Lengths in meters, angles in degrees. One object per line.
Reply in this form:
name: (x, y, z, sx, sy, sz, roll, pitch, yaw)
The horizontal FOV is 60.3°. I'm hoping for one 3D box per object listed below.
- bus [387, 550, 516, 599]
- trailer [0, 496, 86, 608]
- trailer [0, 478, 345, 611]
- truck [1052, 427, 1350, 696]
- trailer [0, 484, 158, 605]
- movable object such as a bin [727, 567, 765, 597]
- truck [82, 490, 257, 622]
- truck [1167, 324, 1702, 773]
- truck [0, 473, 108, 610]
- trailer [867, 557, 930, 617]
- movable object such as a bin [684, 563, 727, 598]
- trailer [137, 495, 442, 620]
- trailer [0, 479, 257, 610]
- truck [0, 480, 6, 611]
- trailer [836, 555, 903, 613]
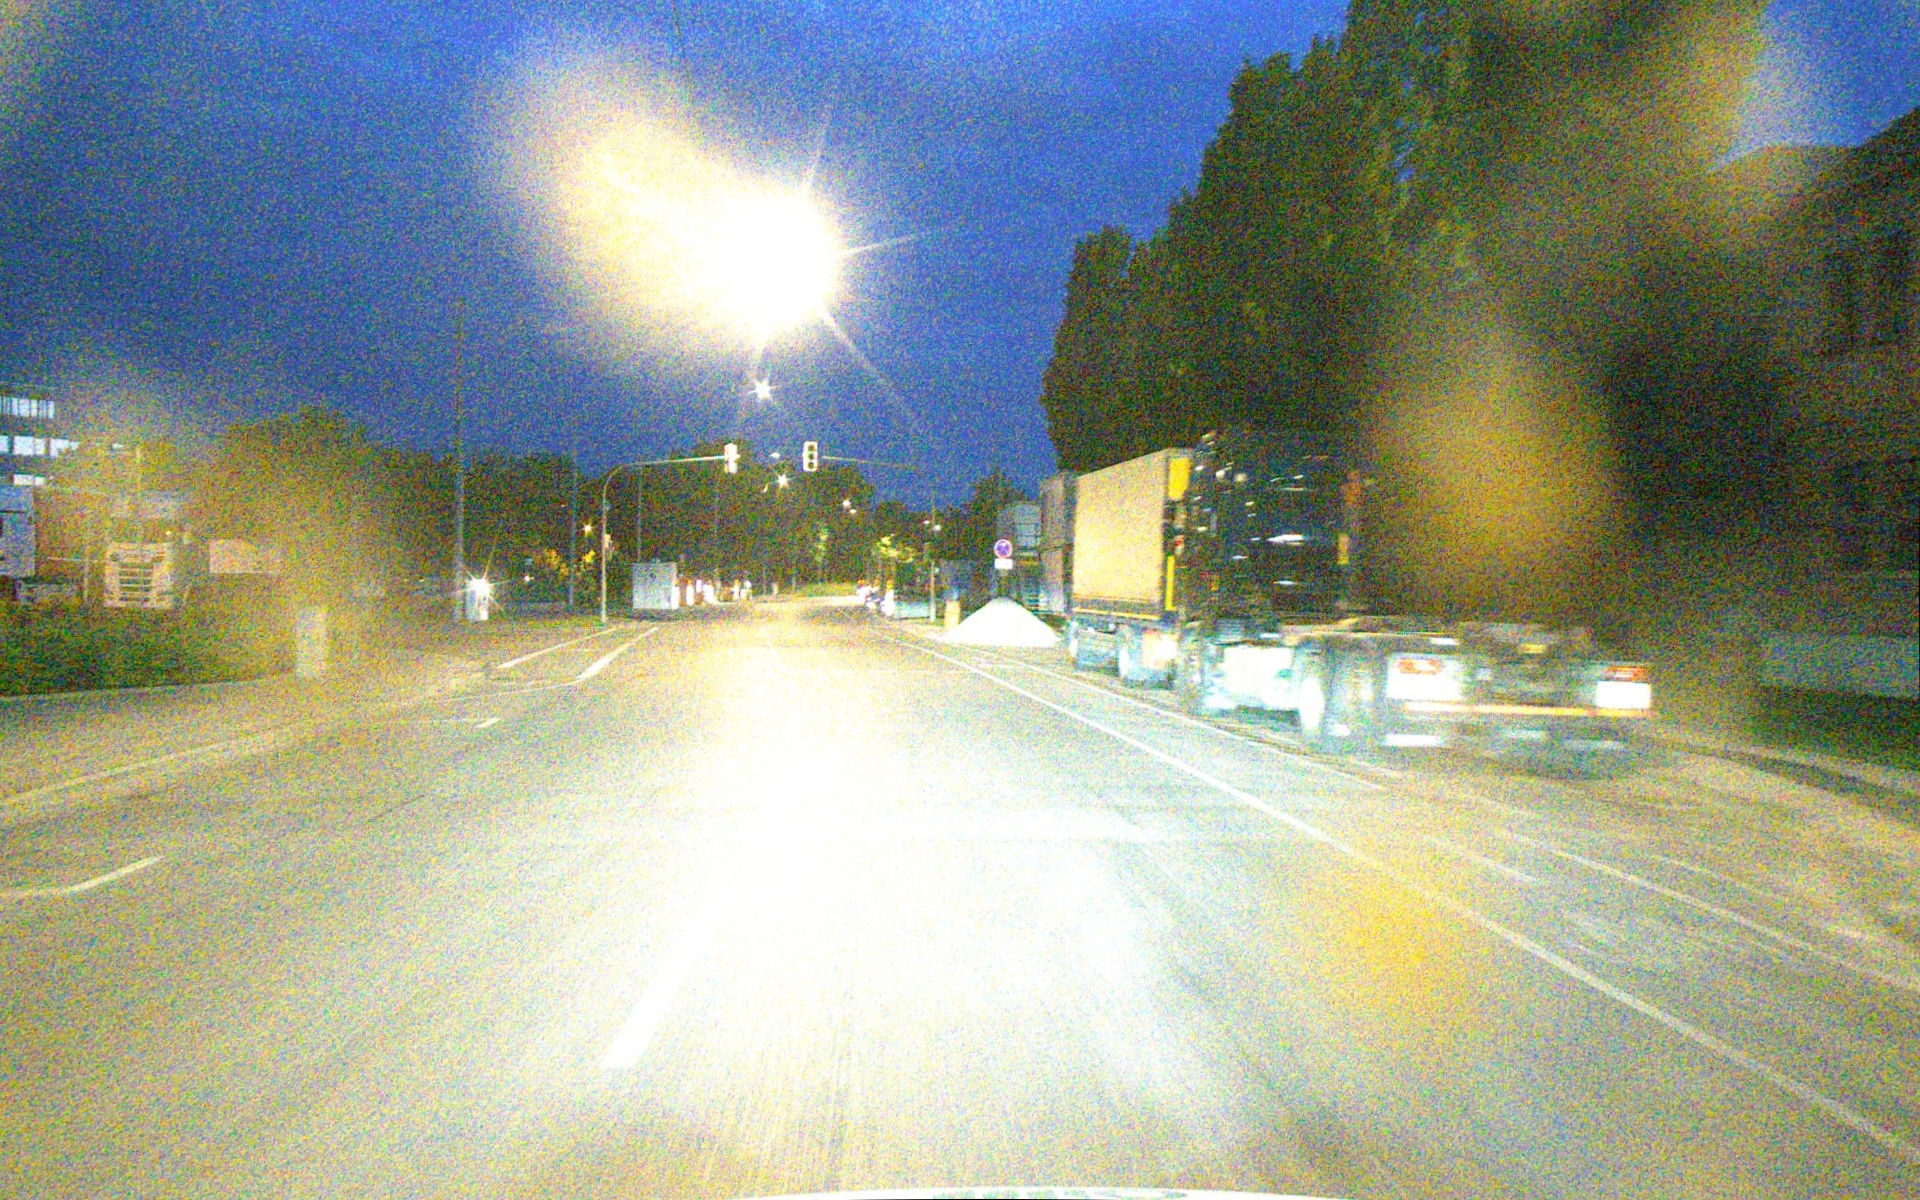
bus: (-35.269, -1.798, 115.446, 2.948, 3.260, 12.685, 0, 1, 11)
trailer: (-40.031, -1.926, 62.913, 2.993, 4.433, 15.016, 2, 1, 12)
trailer: (-28.564, -1.817, 60.471, 2.993, 4.220, 15.012, 2, 1, 16)
truck: (3.782, -0.584, 28.965, 2.702, 3.849, 10.212, 0, 0, -6)
trailer: (-36.437, -2.087, 61.276, 2.993, 4.433, 15.014, 2, 1, 14)
movable object such as a bin: (-17.165, -1.444, 132.803, 1.951, 2.418, 4.705, 0, 0, 6)
truck: (-25.449, -1.376, 53.483, 2.993, 4.001, 4.507, 2, 0, 9)
truck: (4.703, -0.471, 18.882, 2.702, 3.849, 9.126, 0, 0, -6)
truck: (-30.628, -1.857, 53.306, 2.993, 4.221, 4.939, 2, 0, 16)
trailer: (-3.157, -0.653, 83.880, 2.565, 2.895, 4.699, 2, 0, -9)
movable object such as a bin: (-18.427, -1.434, 120.024, 1.951, 2.418, 4.706, 0, 1, 6)
trailer: (-24.170, -1.434, 61.254, 2.993, 4.001, 15.016, 2, 1, 9)
trailer: (-32.449, -1.923, 61.437, 2.993, 4.433, 15.014, 2, 1, 15)
truck: (-34.478, -1.878, 53.640, 2.993, 4.433, 5.570, 2, 0, 15)
trailer: (-5.429, -0.921, 98.526, 3.417, 3.275, 4.854, 2, 0, -9)
